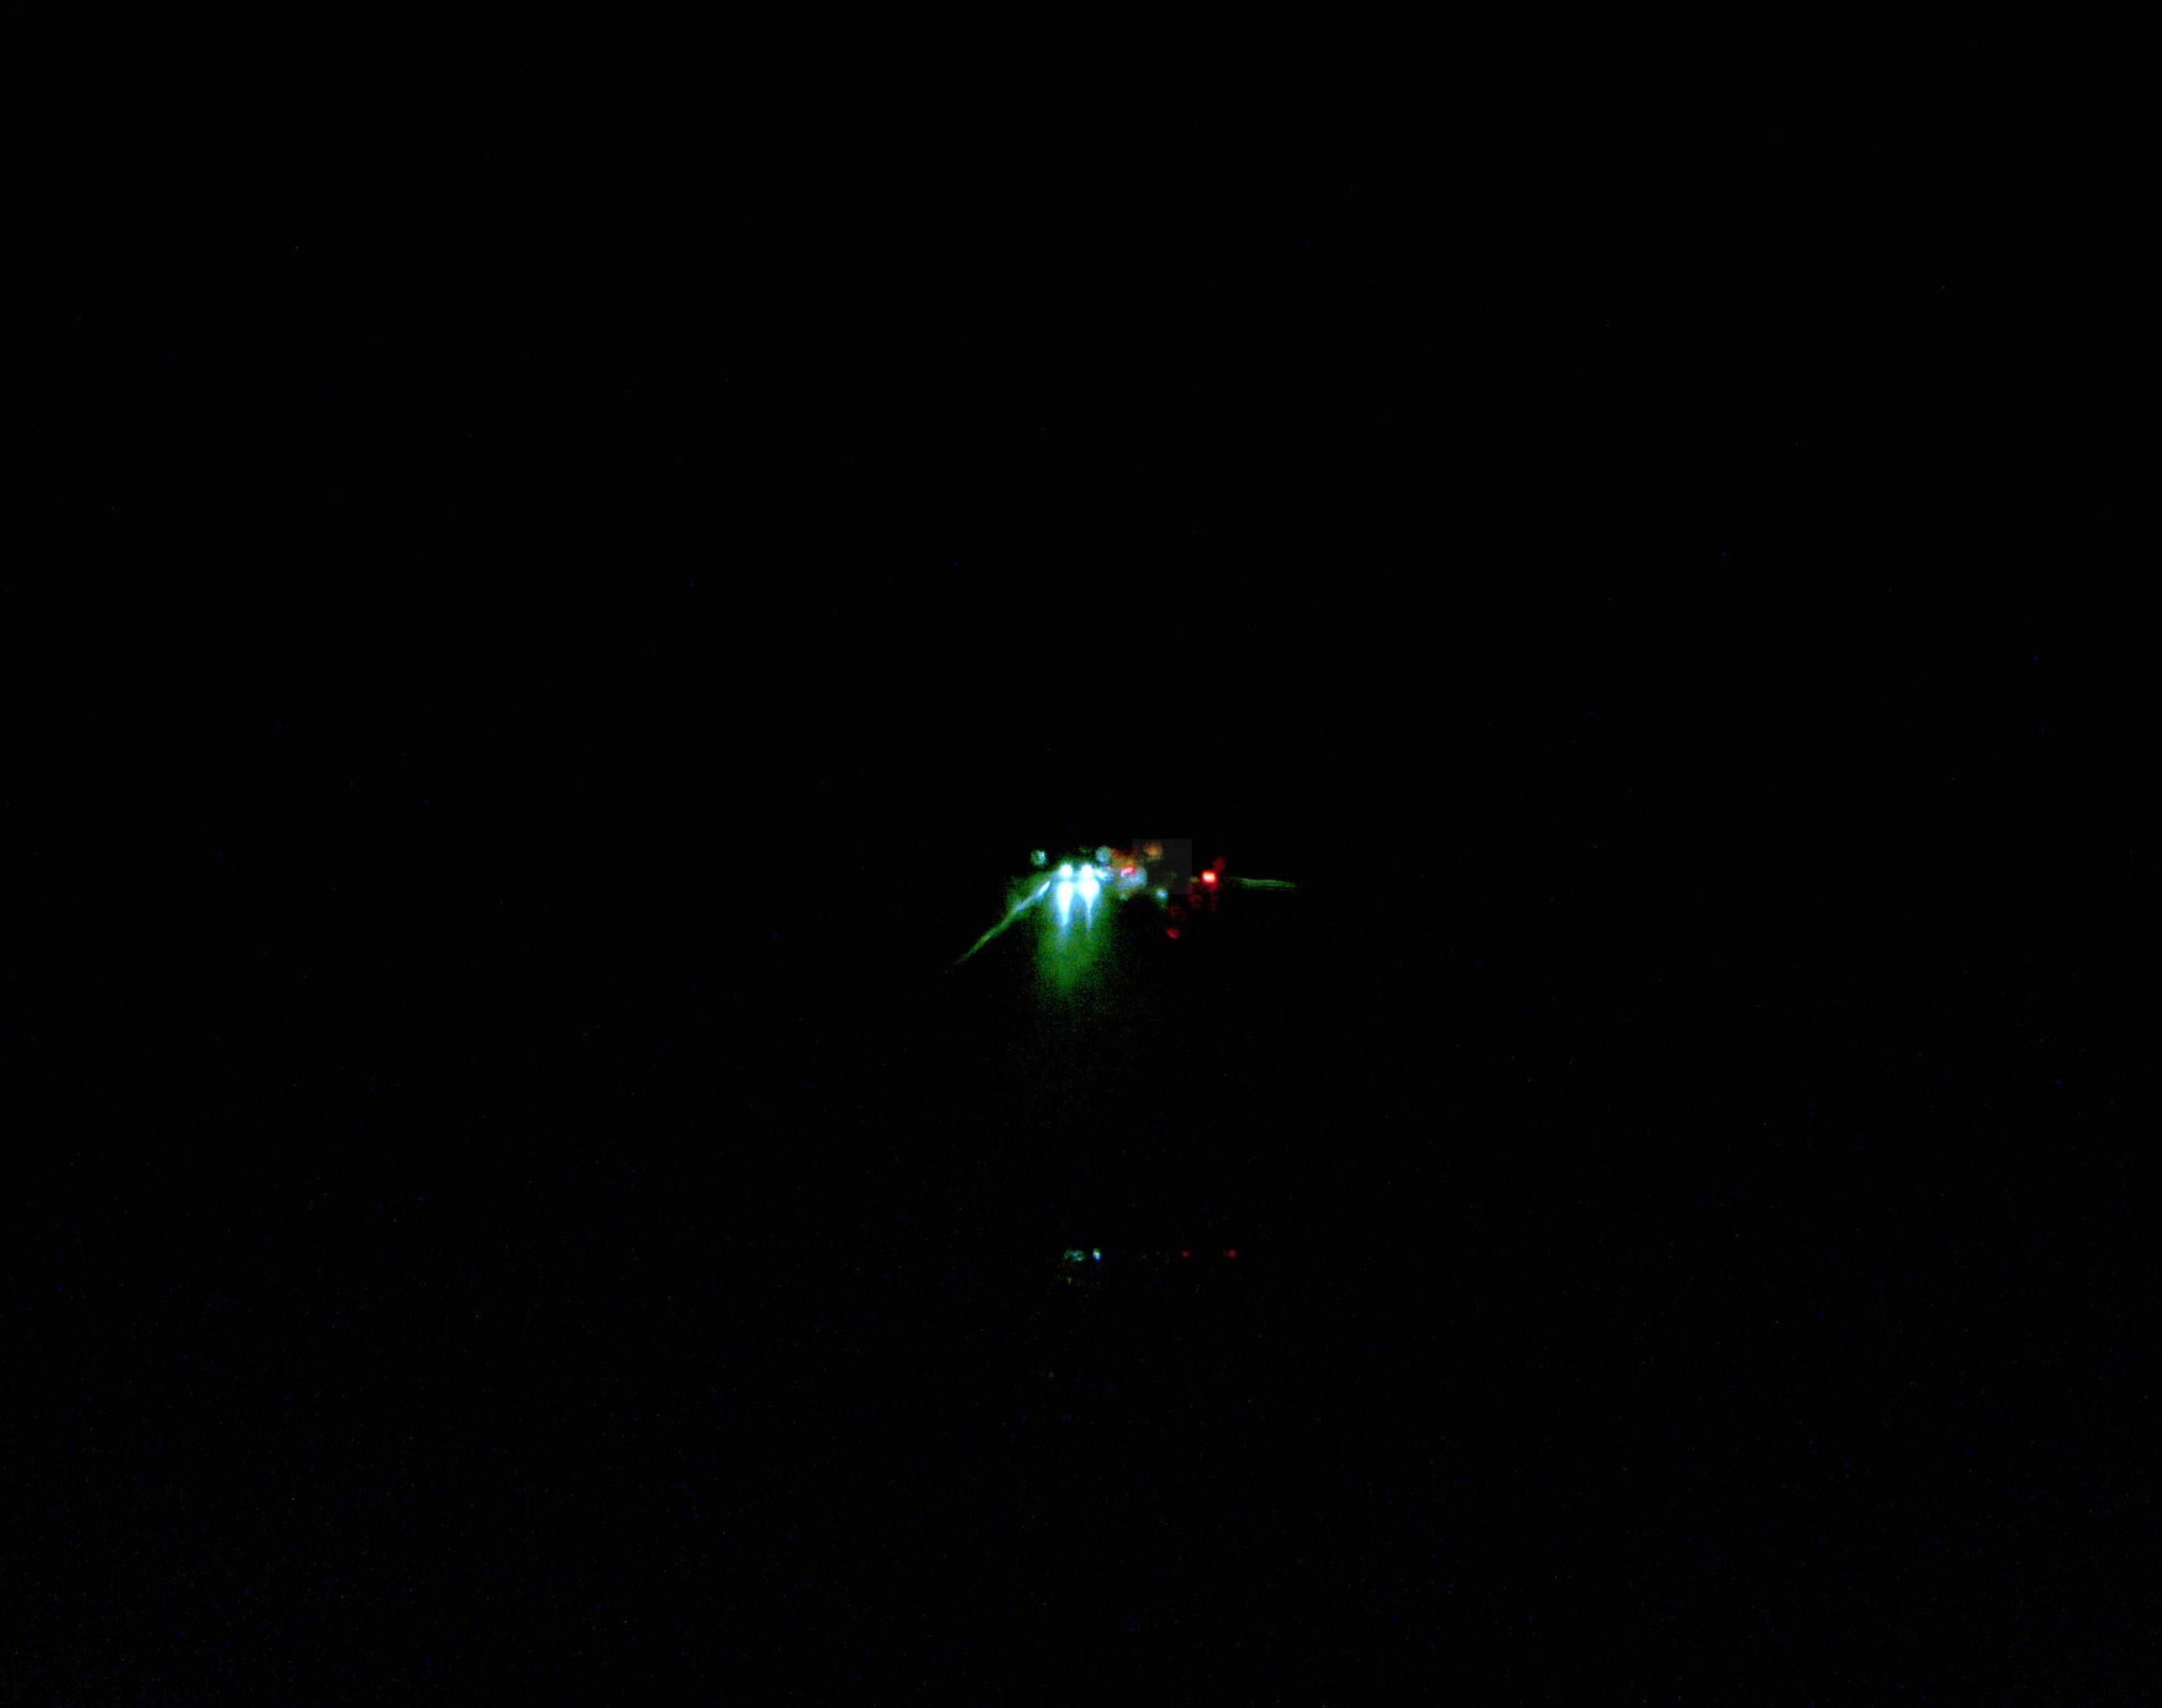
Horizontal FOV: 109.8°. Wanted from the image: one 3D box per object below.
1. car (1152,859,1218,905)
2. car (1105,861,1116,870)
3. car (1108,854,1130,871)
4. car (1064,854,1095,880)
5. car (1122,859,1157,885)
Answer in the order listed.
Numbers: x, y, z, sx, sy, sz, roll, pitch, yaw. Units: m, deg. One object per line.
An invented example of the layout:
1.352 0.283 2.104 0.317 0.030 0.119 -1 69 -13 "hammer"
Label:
3.643 0.944 27.302 1.649 1.417 4.122 -2 0 -2 "car"
5.156 2.025 134.117 1.726 1.603 4.001 1 0 -2 "car"
3.619 0.781 72.806 1.813 1.590 4.631 0 0 0 "car"
-0.057 0.960 56.238 1.998 1.804 4.001 1 0 4 "car"
3.385 1.052 44.596 1.649 1.417 3.659 -2 0 -1 "car"
